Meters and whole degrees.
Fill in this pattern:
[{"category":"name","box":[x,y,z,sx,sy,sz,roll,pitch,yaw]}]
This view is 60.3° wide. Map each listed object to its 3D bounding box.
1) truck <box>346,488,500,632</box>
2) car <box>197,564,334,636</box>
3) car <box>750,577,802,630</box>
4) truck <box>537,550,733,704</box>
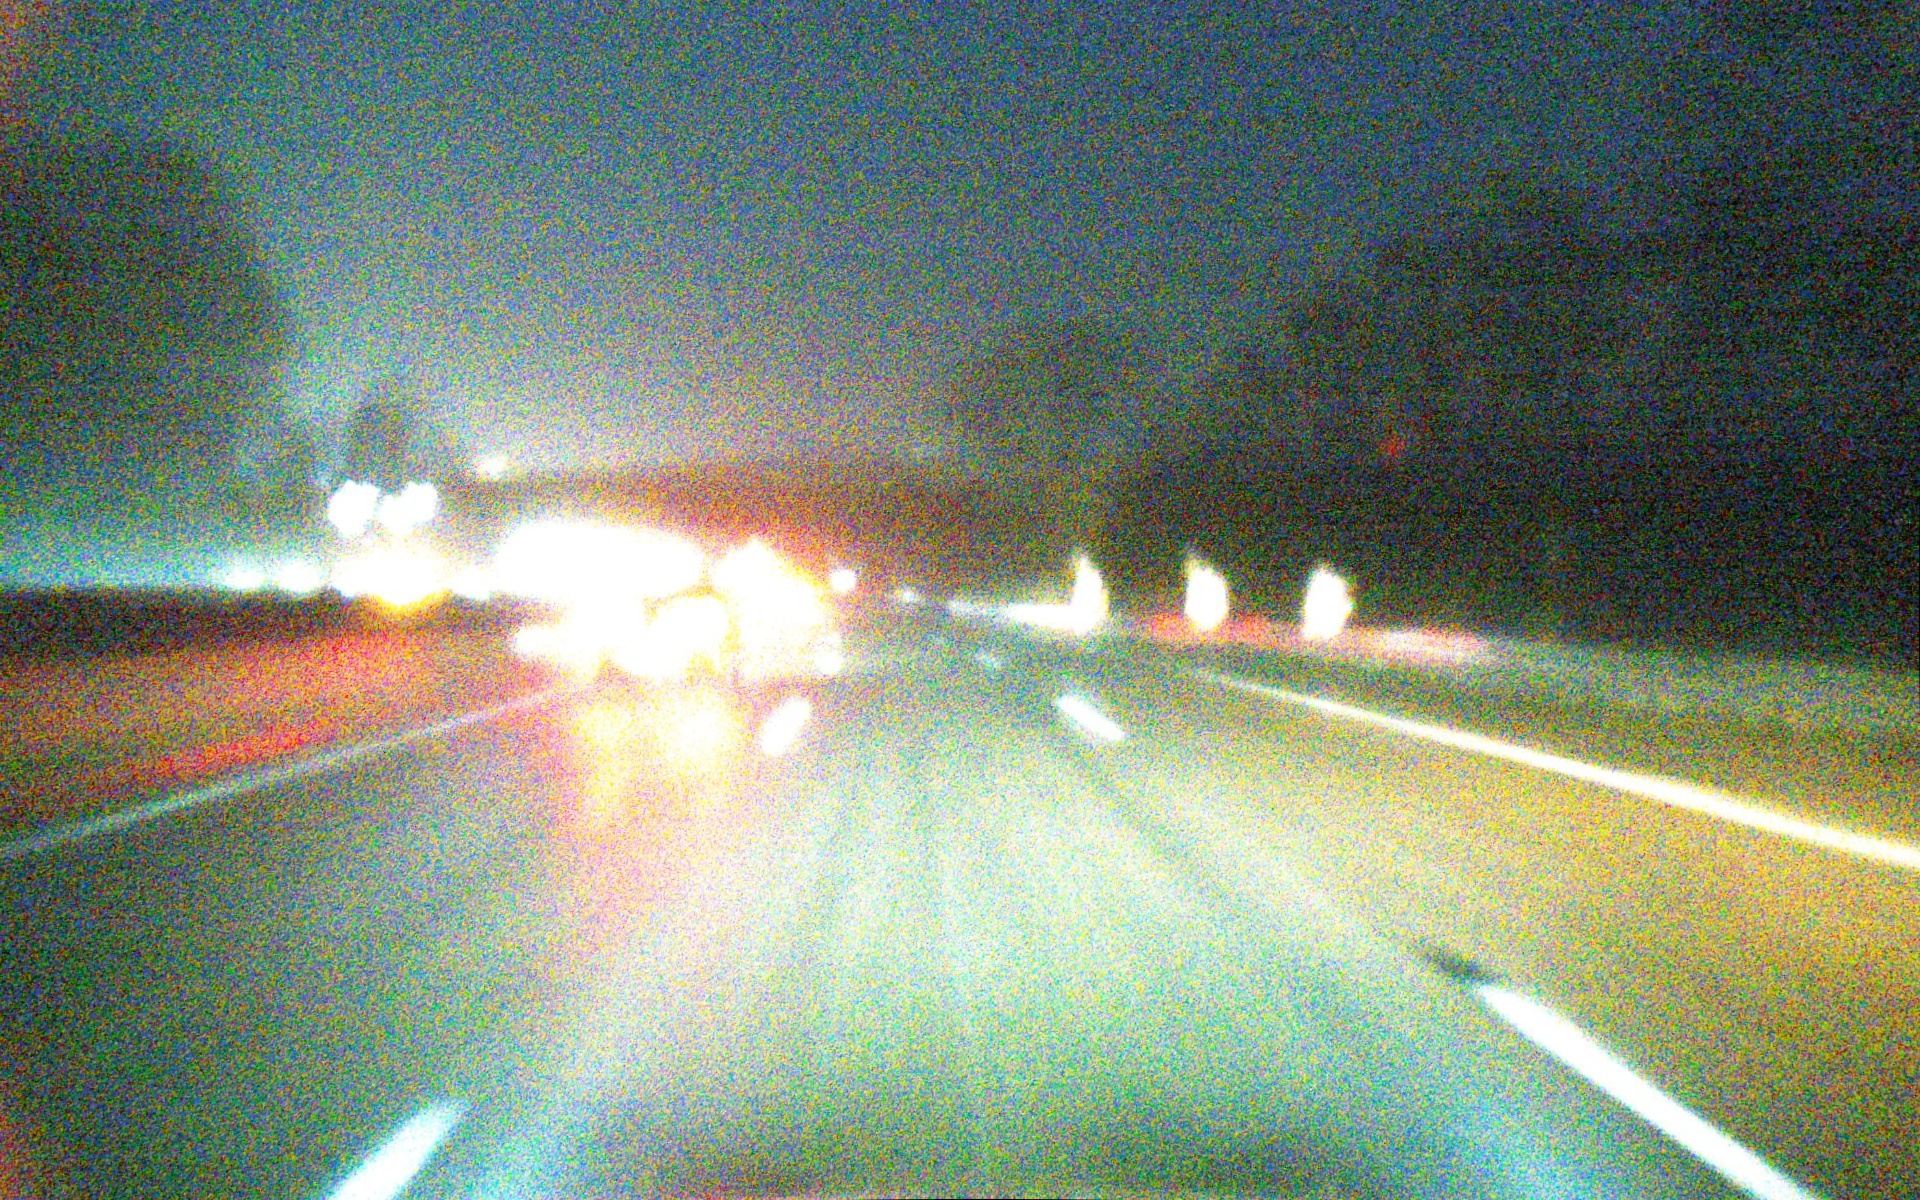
[{"category":"truck","box":[-22.535,-1.732,70.248,2.475,5.402,11.790,4,2,-1]},{"category":"car","box":[-18.288,0.030,43.783,1.955,1.626,3.997,6,-1,-3]},{"category":"car","box":[-8.109,0.125,73.315,1.954,2.048,3.998,5,2,-4]},{"category":"truck","box":[-4.924,0.361,26.085,2.102,2.114,6.600,0,0,-3]}]
